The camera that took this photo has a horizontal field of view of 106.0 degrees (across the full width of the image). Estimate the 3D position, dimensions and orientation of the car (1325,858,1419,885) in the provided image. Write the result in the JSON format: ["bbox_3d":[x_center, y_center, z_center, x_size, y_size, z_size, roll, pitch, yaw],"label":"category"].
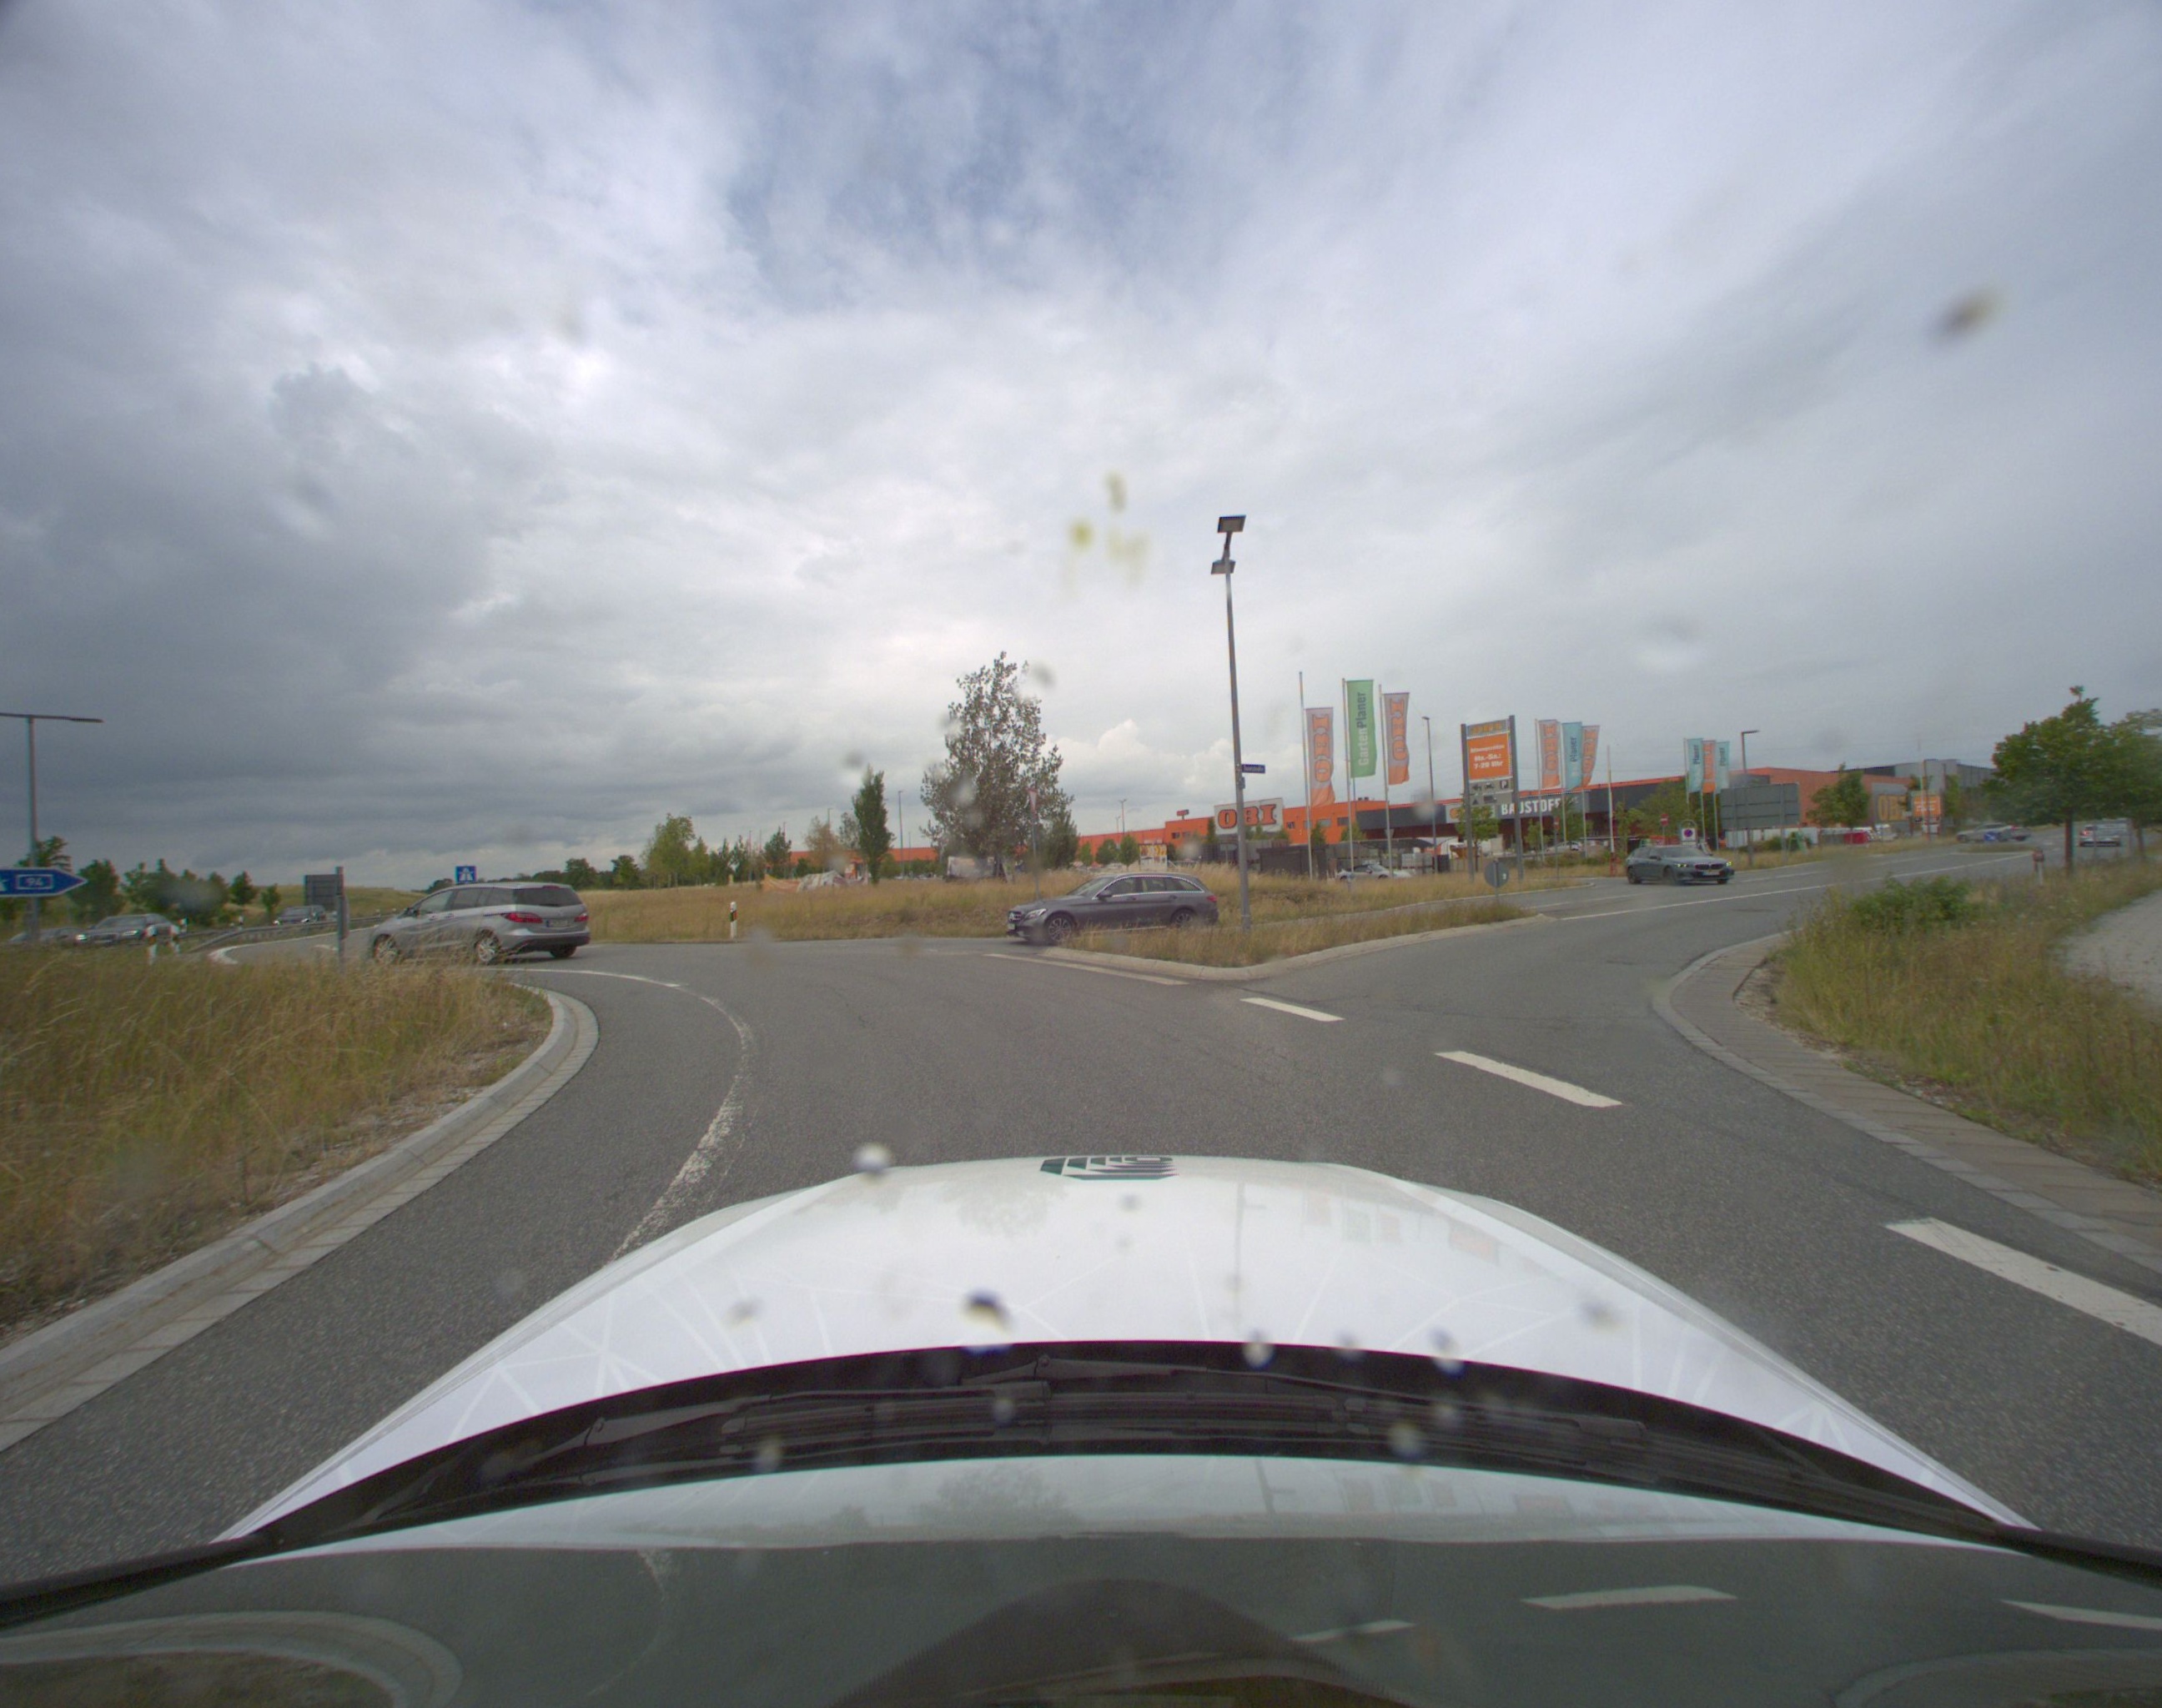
[{"bbox_3d":[16.058,0.994,45.180,1.752,1.404,4.704,0,-1,-38],"label":"car"}]

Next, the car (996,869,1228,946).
[{"bbox_3d":[0.684,1.085,17.722,4.694,1.404,1.913,-1,-1,-24],"label":"car"}]

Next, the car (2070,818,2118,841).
[{"bbox_3d":[67.192,-1.653,53.984,4.017,1.464,1.794,-2,2,-36],"label":"car"}]

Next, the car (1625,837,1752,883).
[{"bbox_3d":[22.834,0.290,30.874,1.980,1.507,4.697,-3,-3,12],"label":"car"}]

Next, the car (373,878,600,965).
[{"bbox_3d":[-12.177,1.360,16.717,3.952,1.599,1.751,-2,-1,18],"label":"car"}]

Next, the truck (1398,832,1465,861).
[{"bbox_3d":[34.466,-0.663,80.233,2.452,2.484,5.485,0,-3,-39],"label":"truck"}]

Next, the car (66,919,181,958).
[{"bbox_3d":[-42.185,3.683,36.027,1.740,1.492,4.500,-1,-3,-28],"label":"car"}]
